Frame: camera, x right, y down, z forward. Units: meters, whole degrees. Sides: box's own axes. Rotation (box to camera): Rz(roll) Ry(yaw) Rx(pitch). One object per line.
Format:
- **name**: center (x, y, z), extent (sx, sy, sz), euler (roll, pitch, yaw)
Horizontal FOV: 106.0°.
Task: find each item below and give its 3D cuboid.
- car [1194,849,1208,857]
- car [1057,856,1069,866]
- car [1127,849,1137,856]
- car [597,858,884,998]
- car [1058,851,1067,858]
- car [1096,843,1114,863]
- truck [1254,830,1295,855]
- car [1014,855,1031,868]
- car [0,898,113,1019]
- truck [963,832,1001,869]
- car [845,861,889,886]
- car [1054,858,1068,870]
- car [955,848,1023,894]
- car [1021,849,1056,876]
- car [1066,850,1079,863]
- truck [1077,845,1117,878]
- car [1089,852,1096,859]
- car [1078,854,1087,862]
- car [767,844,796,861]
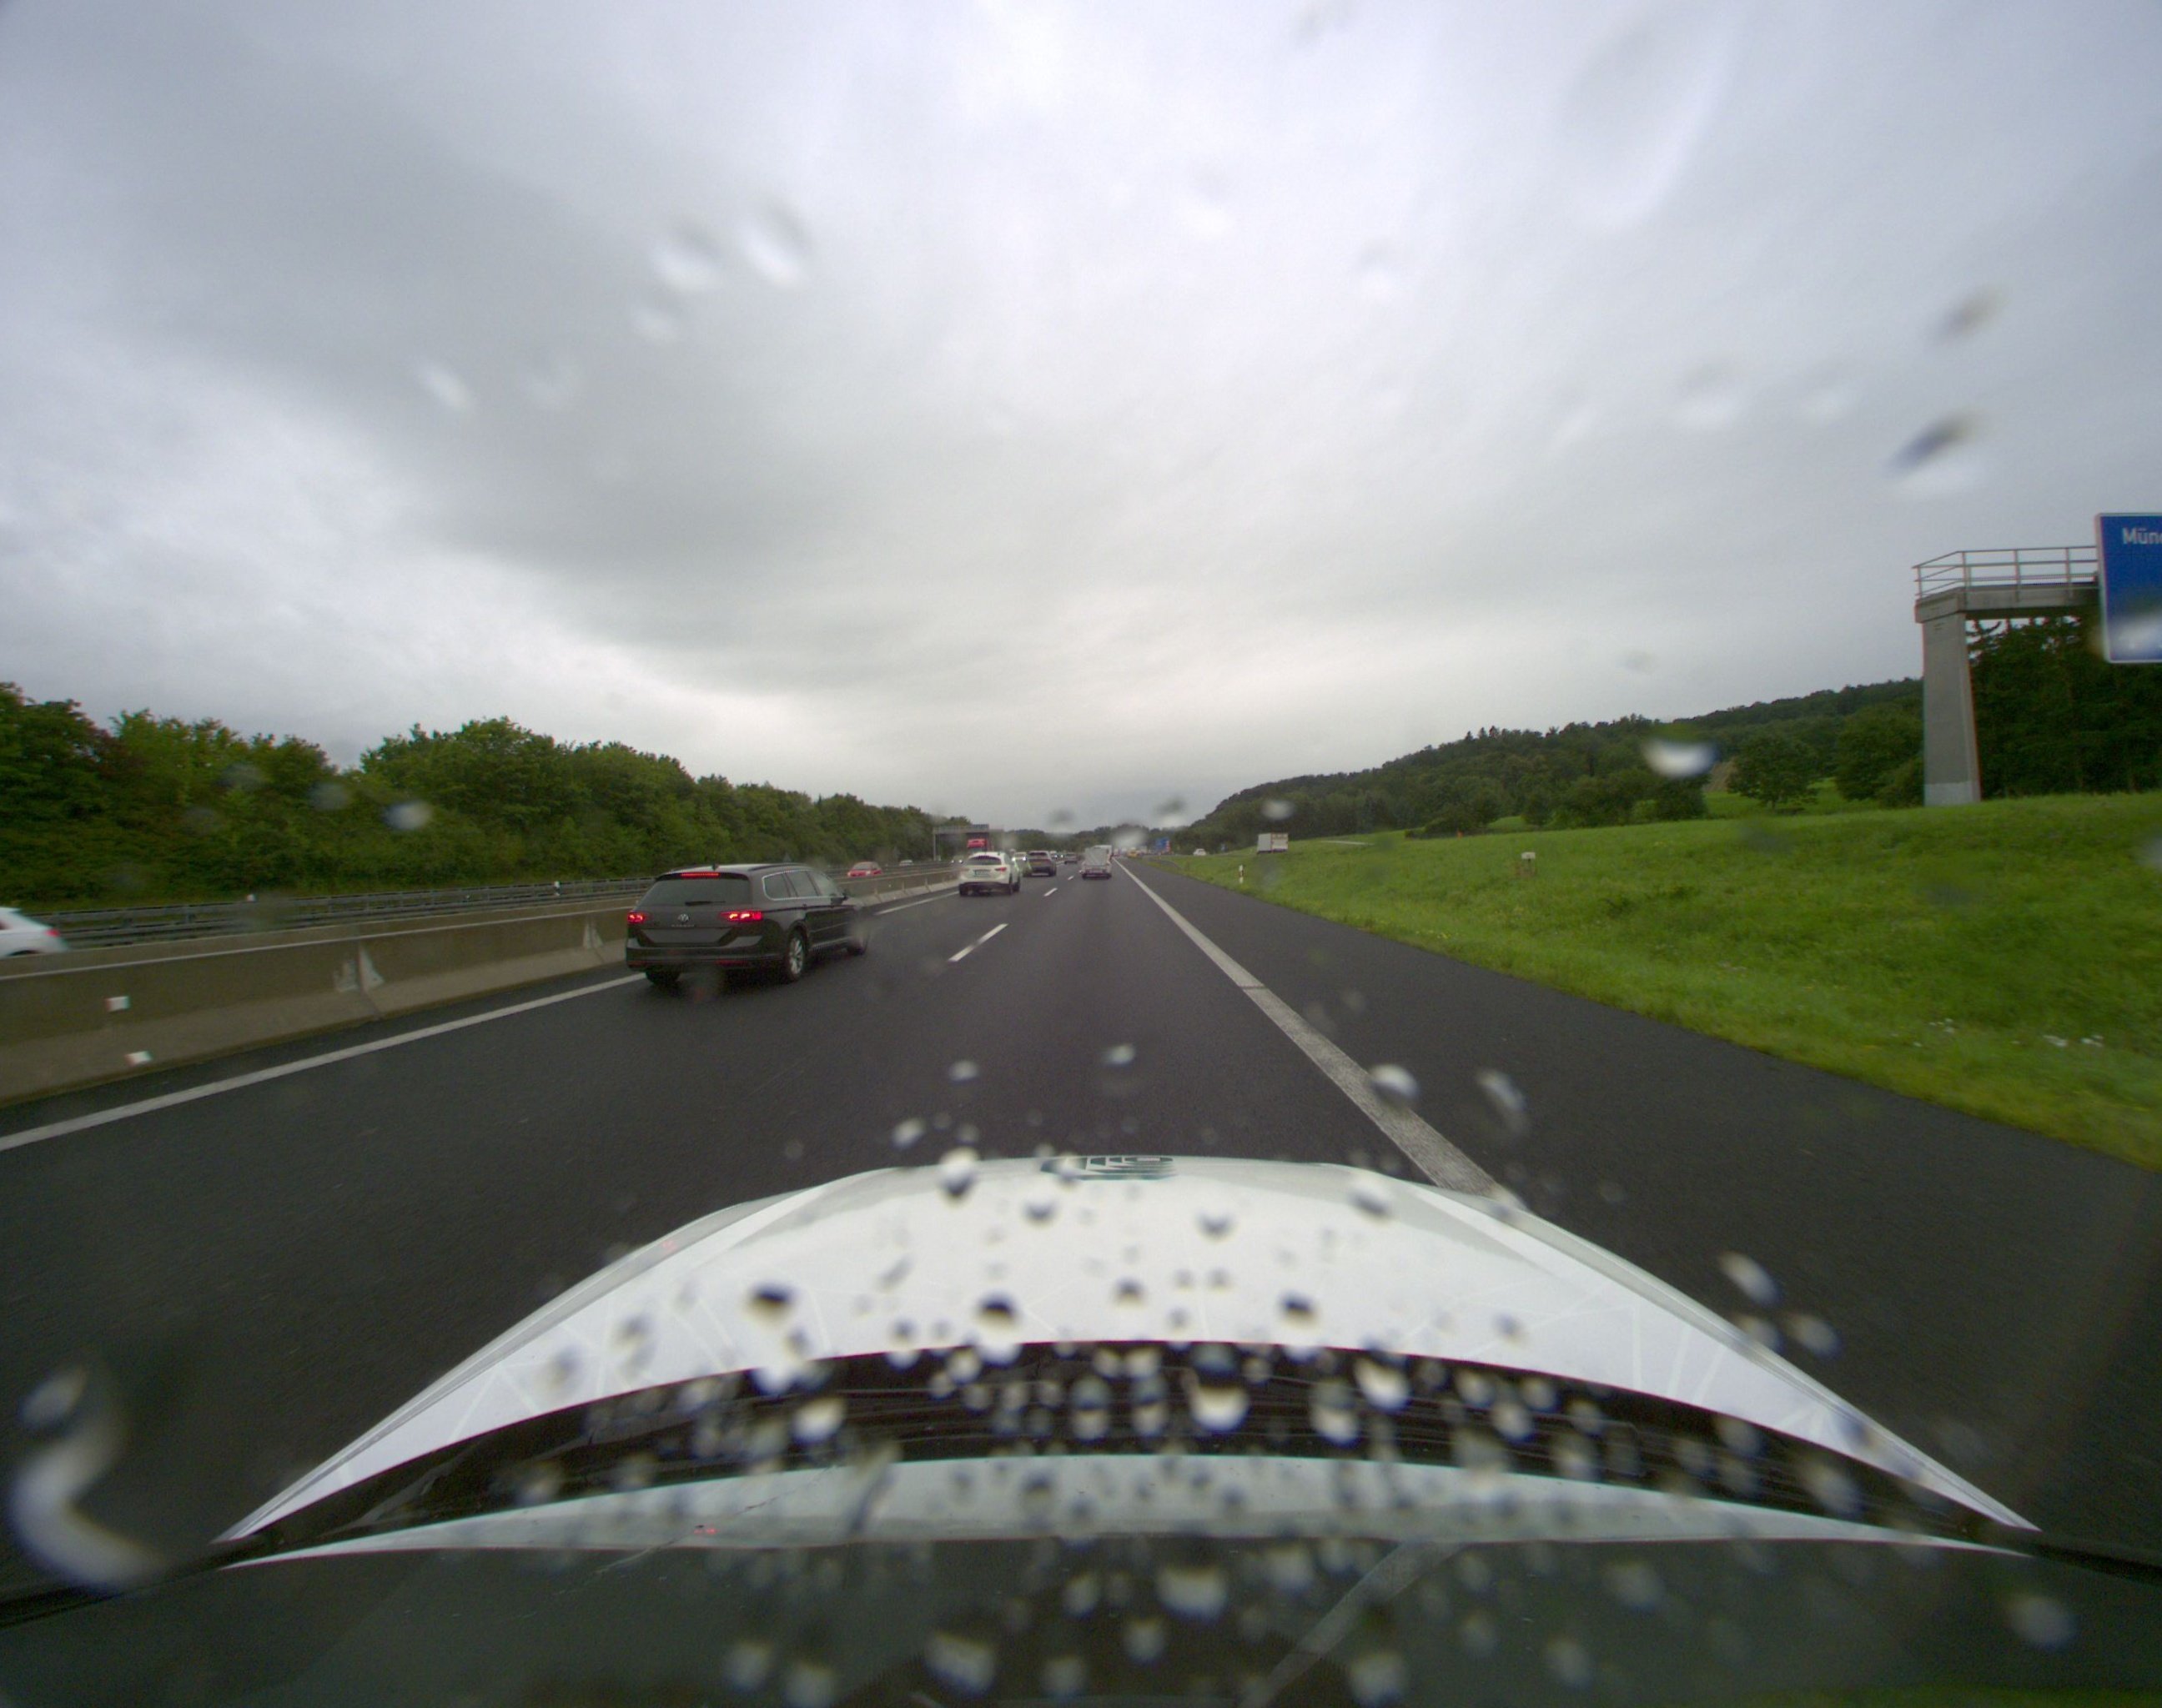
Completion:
- **car**: center (23.586, -0.283, 159.865), extent (1.989, 1.552, 3.995), euler (0, 0, -3)
- **car**: center (-2.940, 1.122, 134.037), extent (1.812, 1.662, 4.019), euler (-2, 0, 2)
- **car**: center (12.943, -0.349, 205.690), extent (1.989, 1.552, 3.995), euler (0, 0, -3)
- **car**: center (-4.275, 0.820, 11.242), extent (1.780, 1.459, 4.804), euler (-1, 0, 2)
- **car**: center (-4.895, 0.089, 215.784), extent (1.987, 1.836, 4.679), euler (0, 0, 0)
- **car**: center (3.362, -0.140, 114.587), extent (2.323, 2.725, 6.541), euler (-1, 0, 1)
- **truck**: center (28.792, -1.657, 121.637), extent (3.815, 3.659, 8.265), euler (0, 0, -2)
- **car**: center (-8.803, 1.160, 122.983), extent (1.986, 1.863, 5.222), euler (-3, 0, 1)
- **car**: center (-16.480, 1.561, 10.812), extent (1.986, 1.662, 4.315), euler (-2, 0, 1)
- **truck**: center (-13.283, -0.486, 109.841), extent (3.387, 4.733, 10.491), euler (-1, 0, 2)
- **car**: center (-14.602, 1.314, 55.723), extent (1.718, 1.552, 4.583), euler (0, 0, 1)
- **car**: center (-3.049, 1.480, 123.936), extent (1.812, 1.662, 4.019), euler (-2, 0, 2)
- **car**: center (-3.534, 0.616, 32.042), extent (2.041, 1.670, 4.542), euler (-1, 0, 1)
- **car**: center (-2.845, 0.551, 55.282), extent (1.968, 1.703, 4.803), euler (-1, 0, 1)
- **car**: center (-1.250, 0.338, 117.251), extent (1.732, 1.794, 4.001), euler (-1, 0, 1)
- **truck**: center (0.972, 0.398, 49.639), extent (2.234, 1.839, 6.585), euler (-1, 0, 1)
- **car**: center (2.805, 0.380, 203.190), extent (1.639, 1.574, 4.002), euler (0, 0, 2)
- **car**: center (0.269, 0.794, 161.305), extent (1.639, 1.574, 4.002), euler (0, 0, 2)
- **car**: center (-35.676, -0.189, 97.005), extent (1.742, 2.013, 4.003), euler (-2, 0, 3)
